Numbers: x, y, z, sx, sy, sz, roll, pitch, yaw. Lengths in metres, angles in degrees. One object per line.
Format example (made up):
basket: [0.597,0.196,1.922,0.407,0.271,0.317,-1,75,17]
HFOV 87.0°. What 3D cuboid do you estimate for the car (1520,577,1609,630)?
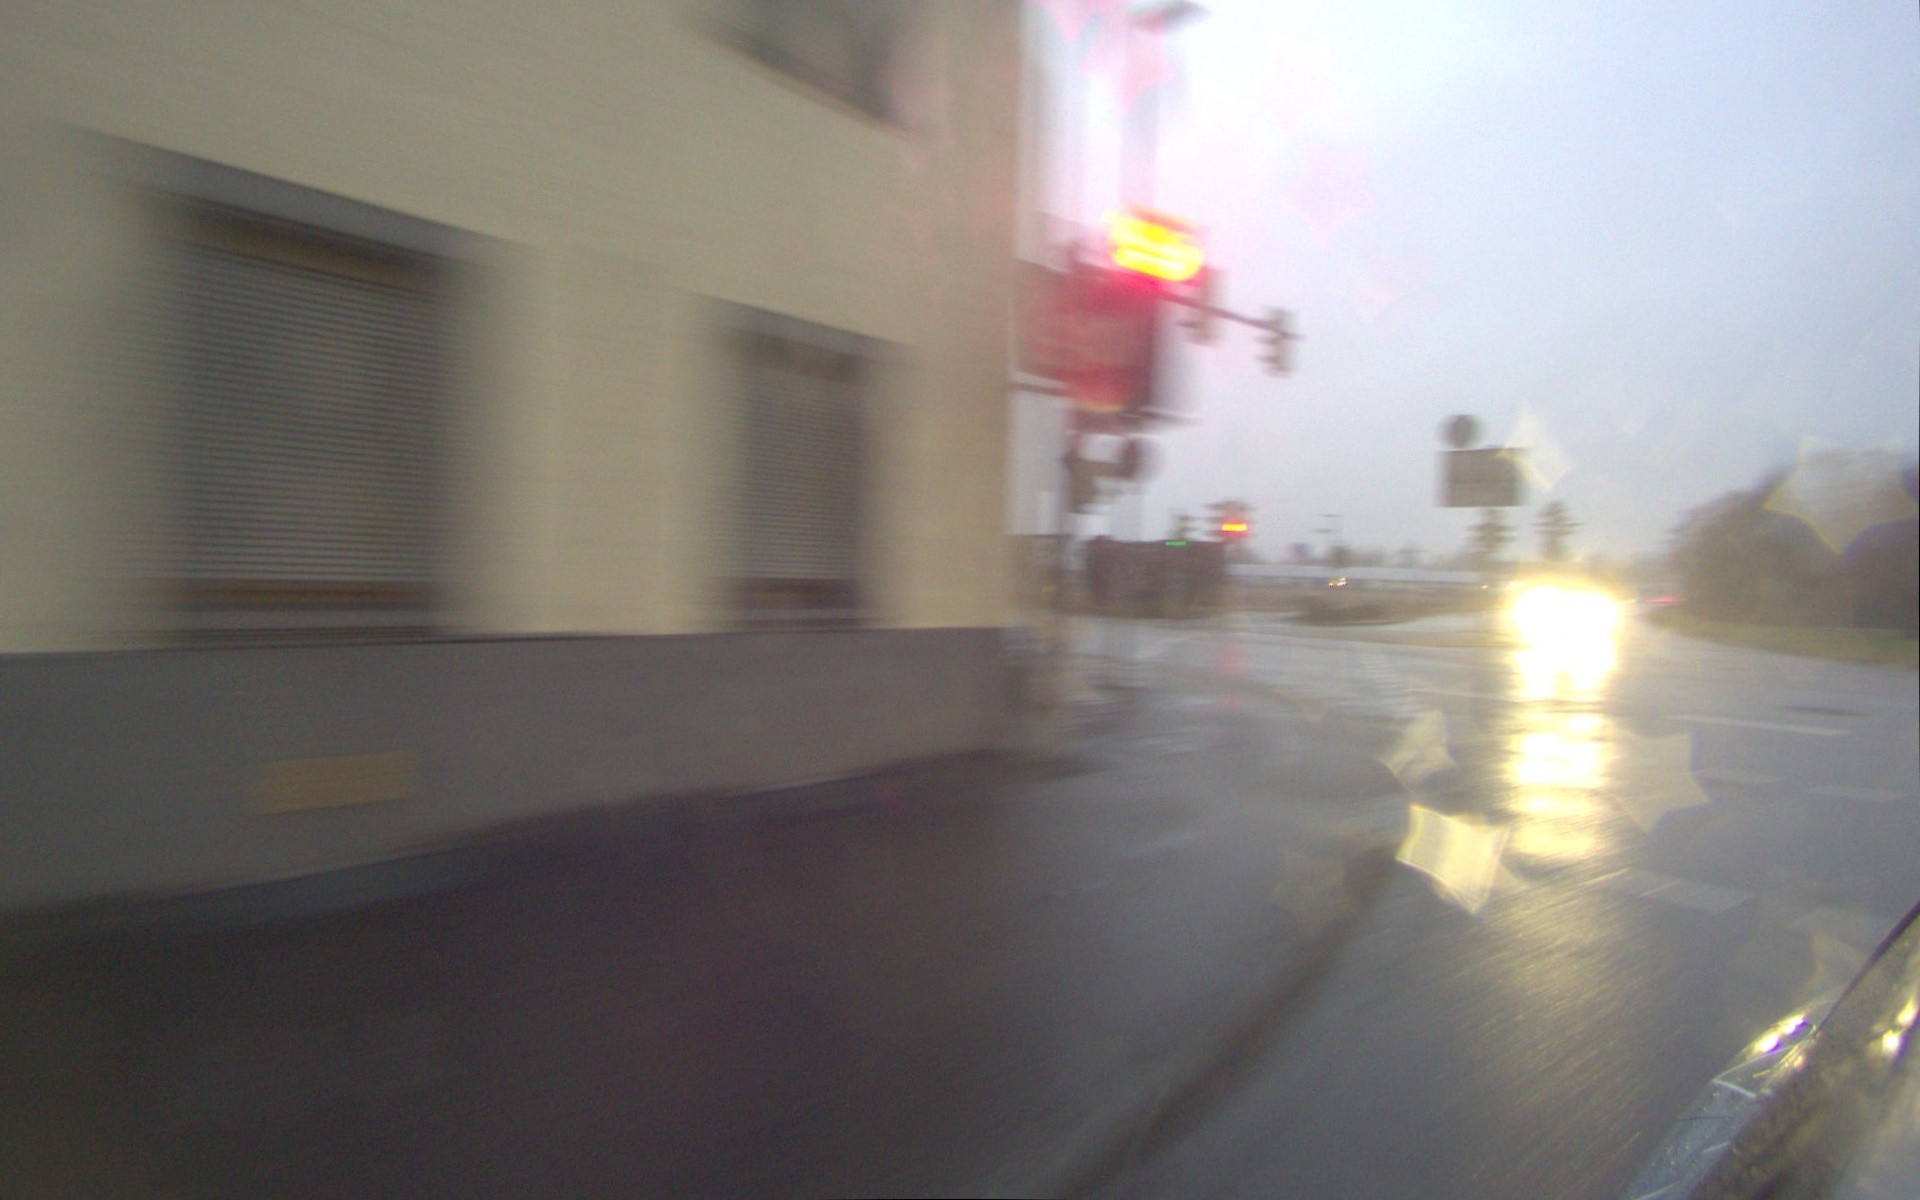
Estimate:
car: [21.494,0.098,36.151,1.794,1.709,3.895,3,2,17]

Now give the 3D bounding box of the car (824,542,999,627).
car: [-1.197,-0.425,23.498,1.967,1.768,3.993,-1,4,-43]
